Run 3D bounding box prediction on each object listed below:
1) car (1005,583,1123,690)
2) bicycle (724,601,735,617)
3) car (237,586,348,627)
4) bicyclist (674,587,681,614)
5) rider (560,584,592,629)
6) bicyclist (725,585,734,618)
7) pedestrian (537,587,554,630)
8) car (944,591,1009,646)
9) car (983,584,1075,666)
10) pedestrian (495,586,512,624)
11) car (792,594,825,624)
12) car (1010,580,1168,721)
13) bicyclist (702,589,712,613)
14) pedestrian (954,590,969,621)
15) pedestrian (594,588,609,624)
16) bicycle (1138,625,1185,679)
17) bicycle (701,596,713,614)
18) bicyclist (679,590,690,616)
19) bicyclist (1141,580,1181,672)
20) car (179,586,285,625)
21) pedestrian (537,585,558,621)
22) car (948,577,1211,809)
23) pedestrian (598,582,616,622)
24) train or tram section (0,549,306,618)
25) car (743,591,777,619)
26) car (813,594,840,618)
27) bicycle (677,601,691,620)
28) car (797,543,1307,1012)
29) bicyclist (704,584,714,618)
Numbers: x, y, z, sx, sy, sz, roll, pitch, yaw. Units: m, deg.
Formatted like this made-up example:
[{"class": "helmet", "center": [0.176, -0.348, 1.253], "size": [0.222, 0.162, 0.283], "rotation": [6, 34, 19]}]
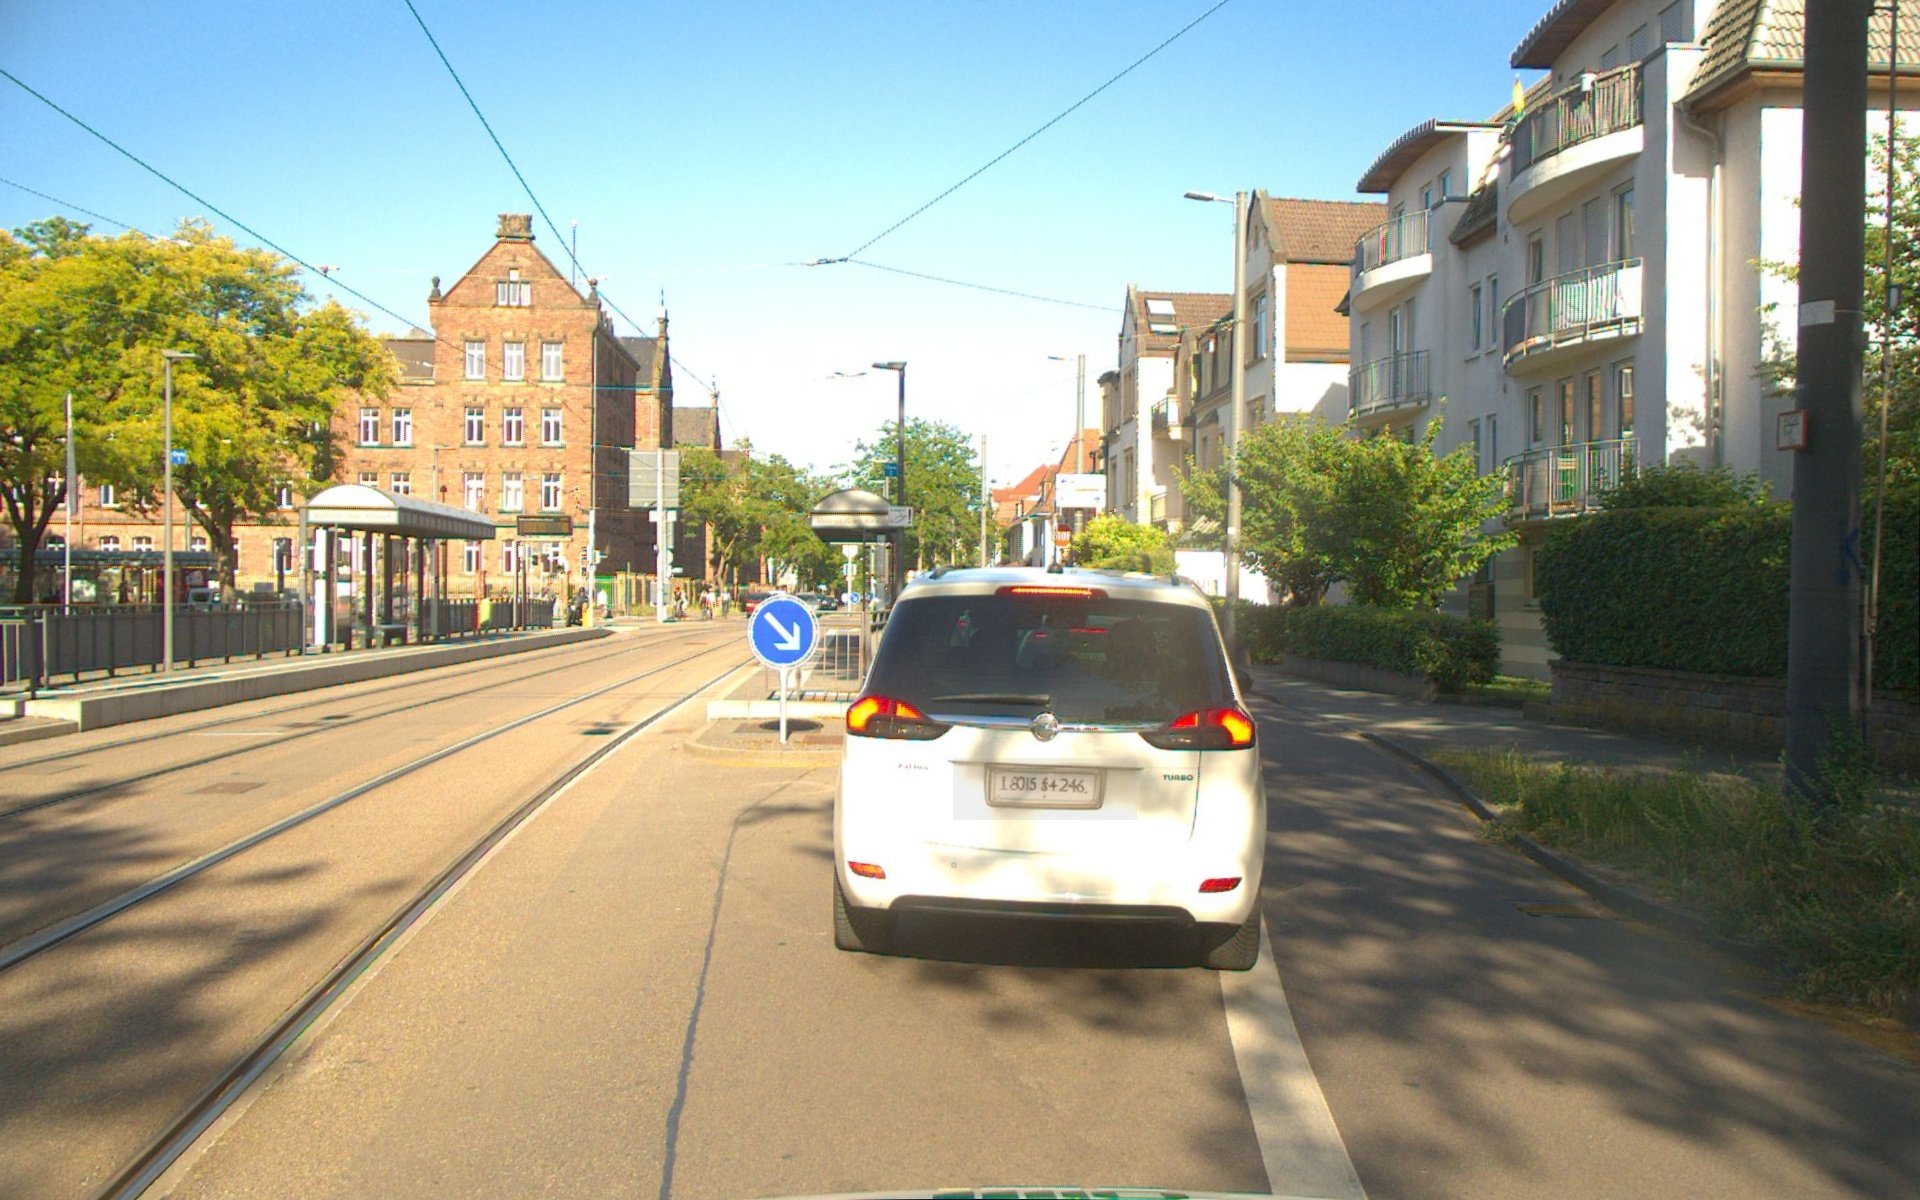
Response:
[{"class": "car", "center": [1.786, 0.576, 28.281], "size": [1.867, 1.690, 4.002], "rotation": [0, 0, 4]}, {"class": "bicycle", "center": [-14.463, 0.544, 103.805], "size": [0.477, 0.988, 1.405], "rotation": [1, 0, -1]}, {"class": "car", "center": [-28.119, 0.275, 69.740], "size": [3.908, 1.658, 1.817], "rotation": [1, 0, -4]}, {"class": "bicyclist", "center": [-15.724, 0.018, 91.926], "size": [0.307, 1.469, 0.384], "rotation": [1, -1, -1]}, {"class": "rider", "center": [-15.854, 0.286, 68.328], "size": [0.779, 1.813, 2.486], "rotation": [1, 0, -2]}, {"class": "bicyclist", "center": [-14.463, 0.090, 103.840], "size": [0.478, 2.049, 0.502], "rotation": [1, -1, -1]}, {"class": "pedestrian", "center": [-20.060, 0.427, 80.012], "size": [0.781, 2.049, 1.042], "rotation": [1, -1, -15]}, {"class": "car", "center": [0.500, 0.553, 53.076], "size": [1.869, 1.690, 3.998], "rotation": [0, 0, -2]}, {"class": "car", "center": [1.443, 0.503, 36.114], "size": [1.868, 1.690, 4.000], "rotation": [0, 0, 0]}, {"class": "pedestrian", "center": [-22.091, 0.258, 80.059], "size": [0.754, 1.805, 0.717], "rotation": [1, -1, -18]}, {"class": "car", "center": [-9.231, 0.558, 100.992], "size": [1.711, 1.746, 3.999], "rotation": [1, 0, -1]}, {"class": "car", "center": [1.746, 0.585, 21.620], "size": [1.866, 1.653, 4.003], "rotation": [0, 0, 6]}, {"class": "bicyclist", "center": [-15.799, 0.043, 103.418], "size": [0.520, 1.503, 0.572], "rotation": [1, -1, -1]}, {"class": "pedestrian", "center": [0.091, 0.350, 103.895], "size": [0.790, 1.934, 0.744], "rotation": [1, -1, 13]}, {"class": "pedestrian", "center": [-20.563, 0.357, 94.910], "size": [0.675, 2.049, 0.618], "rotation": [1, -1, 4]}, {"class": "bicycle", "center": [3.756, 0.950, 30.890], "size": [0.662, 0.941, 1.885], "rotation": [0, 0, 1]}, {"class": "bicycle", "center": [-15.805, 0.309, 103.385], "size": [0.498, 1.096, 1.738], "rotation": [1, 0, -1]}, {"class": "bicyclist", "center": [-15.946, 0.196, 95.589], "size": [0.520, 1.503, 0.572], "rotation": [1, -1, -1]}, {"class": "bicyclist", "center": [3.748, 0.473, 30.844], "size": [0.662, 1.687, 0.745], "rotation": [0, 0, 1]}, {"class": "car", "center": [-32.450, 0.230, 73.813], "size": [3.908, 1.658, 1.817], "rotation": [1, 0, -4]}, {"class": "pedestrian", "center": [-22.104, 0.147, 88.698], "size": [0.791, 1.934, 0.744], "rotation": [1, -1, 13]}, {"class": "car", "center": [1.066, 0.648, 13.769], "size": [1.866, 1.625, 4.003], "rotation": [0, 0, 6]}, {"class": "pedestrian", "center": [-18.086, 0.092, 84.686], "size": [0.782, 2.049, 0.717], "rotation": [1, -1, -18]}, {"class": "train or tram section", "center": [-40.752, -0.750, 79.415], "size": [17.048, 3.210, 3.343], "rotation": [0, 0, -6]}, {"class": "car", "center": [-13.018, 0.337, 107.776], "size": [1.711, 1.746, 3.999], "rotation": [1, 0, -1]}, {"class": "car", "center": [-10.101, 0.430, 125.536], "size": [1.711, 1.746, 3.999], "rotation": [1, 0, -1]}, {"class": "bicycle", "center": [-15.940, 0.610, 95.545], "size": [0.498, 1.096, 1.738], "rotation": [1, 0, -1]}, {"class": "car", "center": [0.546, 0.632, 8.069], "size": [1.866, 1.690, 4.003], "rotation": [0, 0, 6]}, {"class": "bicyclist", "center": [-15.051, 0.060, 99.043], "size": [0.488, 2.049, 0.572], "rotation": [1, -1, -1]}]
